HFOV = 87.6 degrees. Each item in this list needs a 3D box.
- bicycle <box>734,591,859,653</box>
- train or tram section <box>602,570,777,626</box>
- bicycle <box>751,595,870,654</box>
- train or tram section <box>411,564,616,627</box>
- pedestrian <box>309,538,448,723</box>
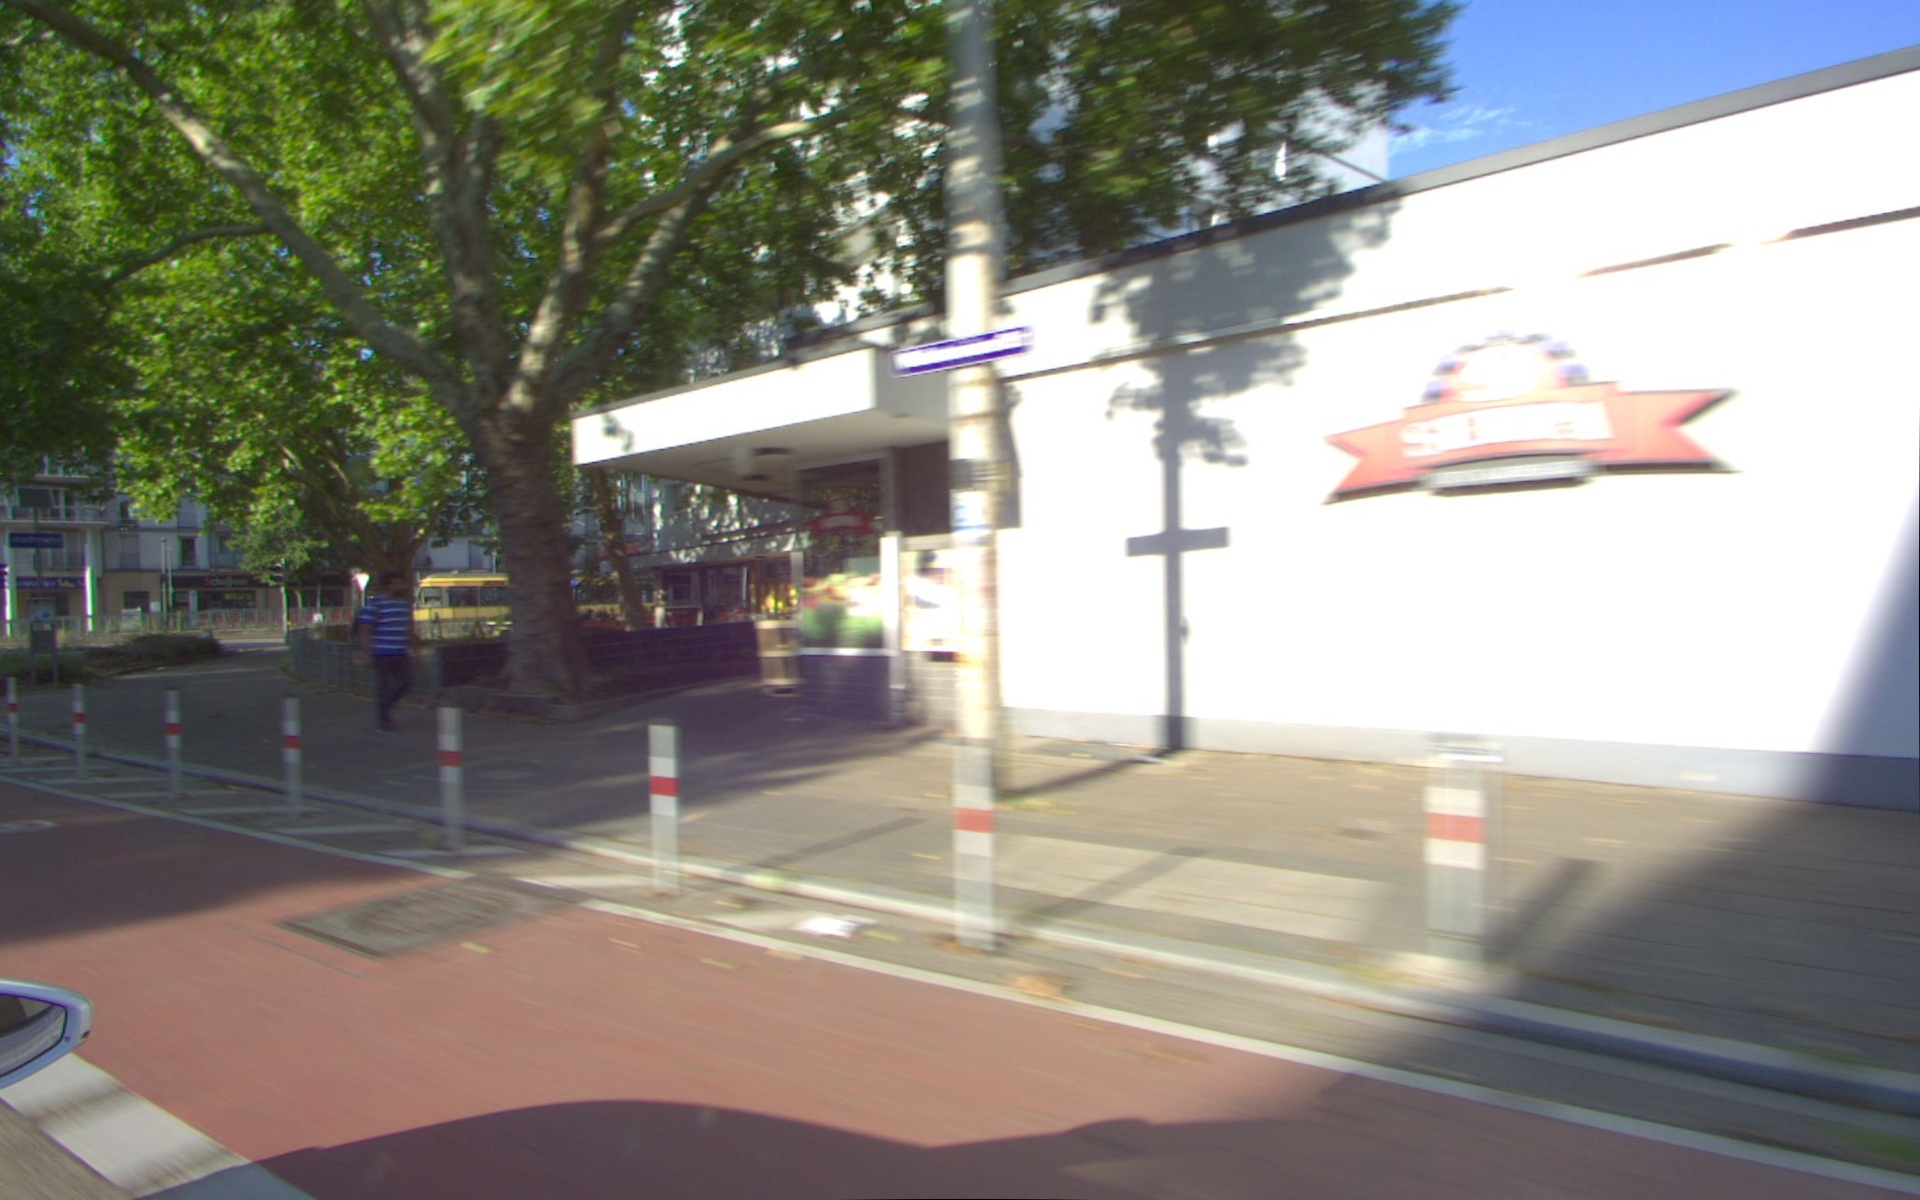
[{"bbox_3d":[-3.296,0.450,20.214,2.382,1.188,0.767,-1,-1,14],"label":"bicycle"},{"bbox_3d":[-19.204,-0.058,71.798,11.685,3.686,3.394,1,-2,-37],"label":"train or tram section"},{"bbox_3d":[-3.166,0.539,21.252,2.382,1.188,0.767,-1,-1,14],"label":"bicycle"},{"bbox_3d":[-28.628,-0.178,64.728,11.685,3.686,3.394,1,-2,-37],"label":"train or tram section"},{"bbox_3d":[-6.796,0.342,11.711,1.137,2.041,0.824,-2,3,33],"label":"pedestrian"}]
